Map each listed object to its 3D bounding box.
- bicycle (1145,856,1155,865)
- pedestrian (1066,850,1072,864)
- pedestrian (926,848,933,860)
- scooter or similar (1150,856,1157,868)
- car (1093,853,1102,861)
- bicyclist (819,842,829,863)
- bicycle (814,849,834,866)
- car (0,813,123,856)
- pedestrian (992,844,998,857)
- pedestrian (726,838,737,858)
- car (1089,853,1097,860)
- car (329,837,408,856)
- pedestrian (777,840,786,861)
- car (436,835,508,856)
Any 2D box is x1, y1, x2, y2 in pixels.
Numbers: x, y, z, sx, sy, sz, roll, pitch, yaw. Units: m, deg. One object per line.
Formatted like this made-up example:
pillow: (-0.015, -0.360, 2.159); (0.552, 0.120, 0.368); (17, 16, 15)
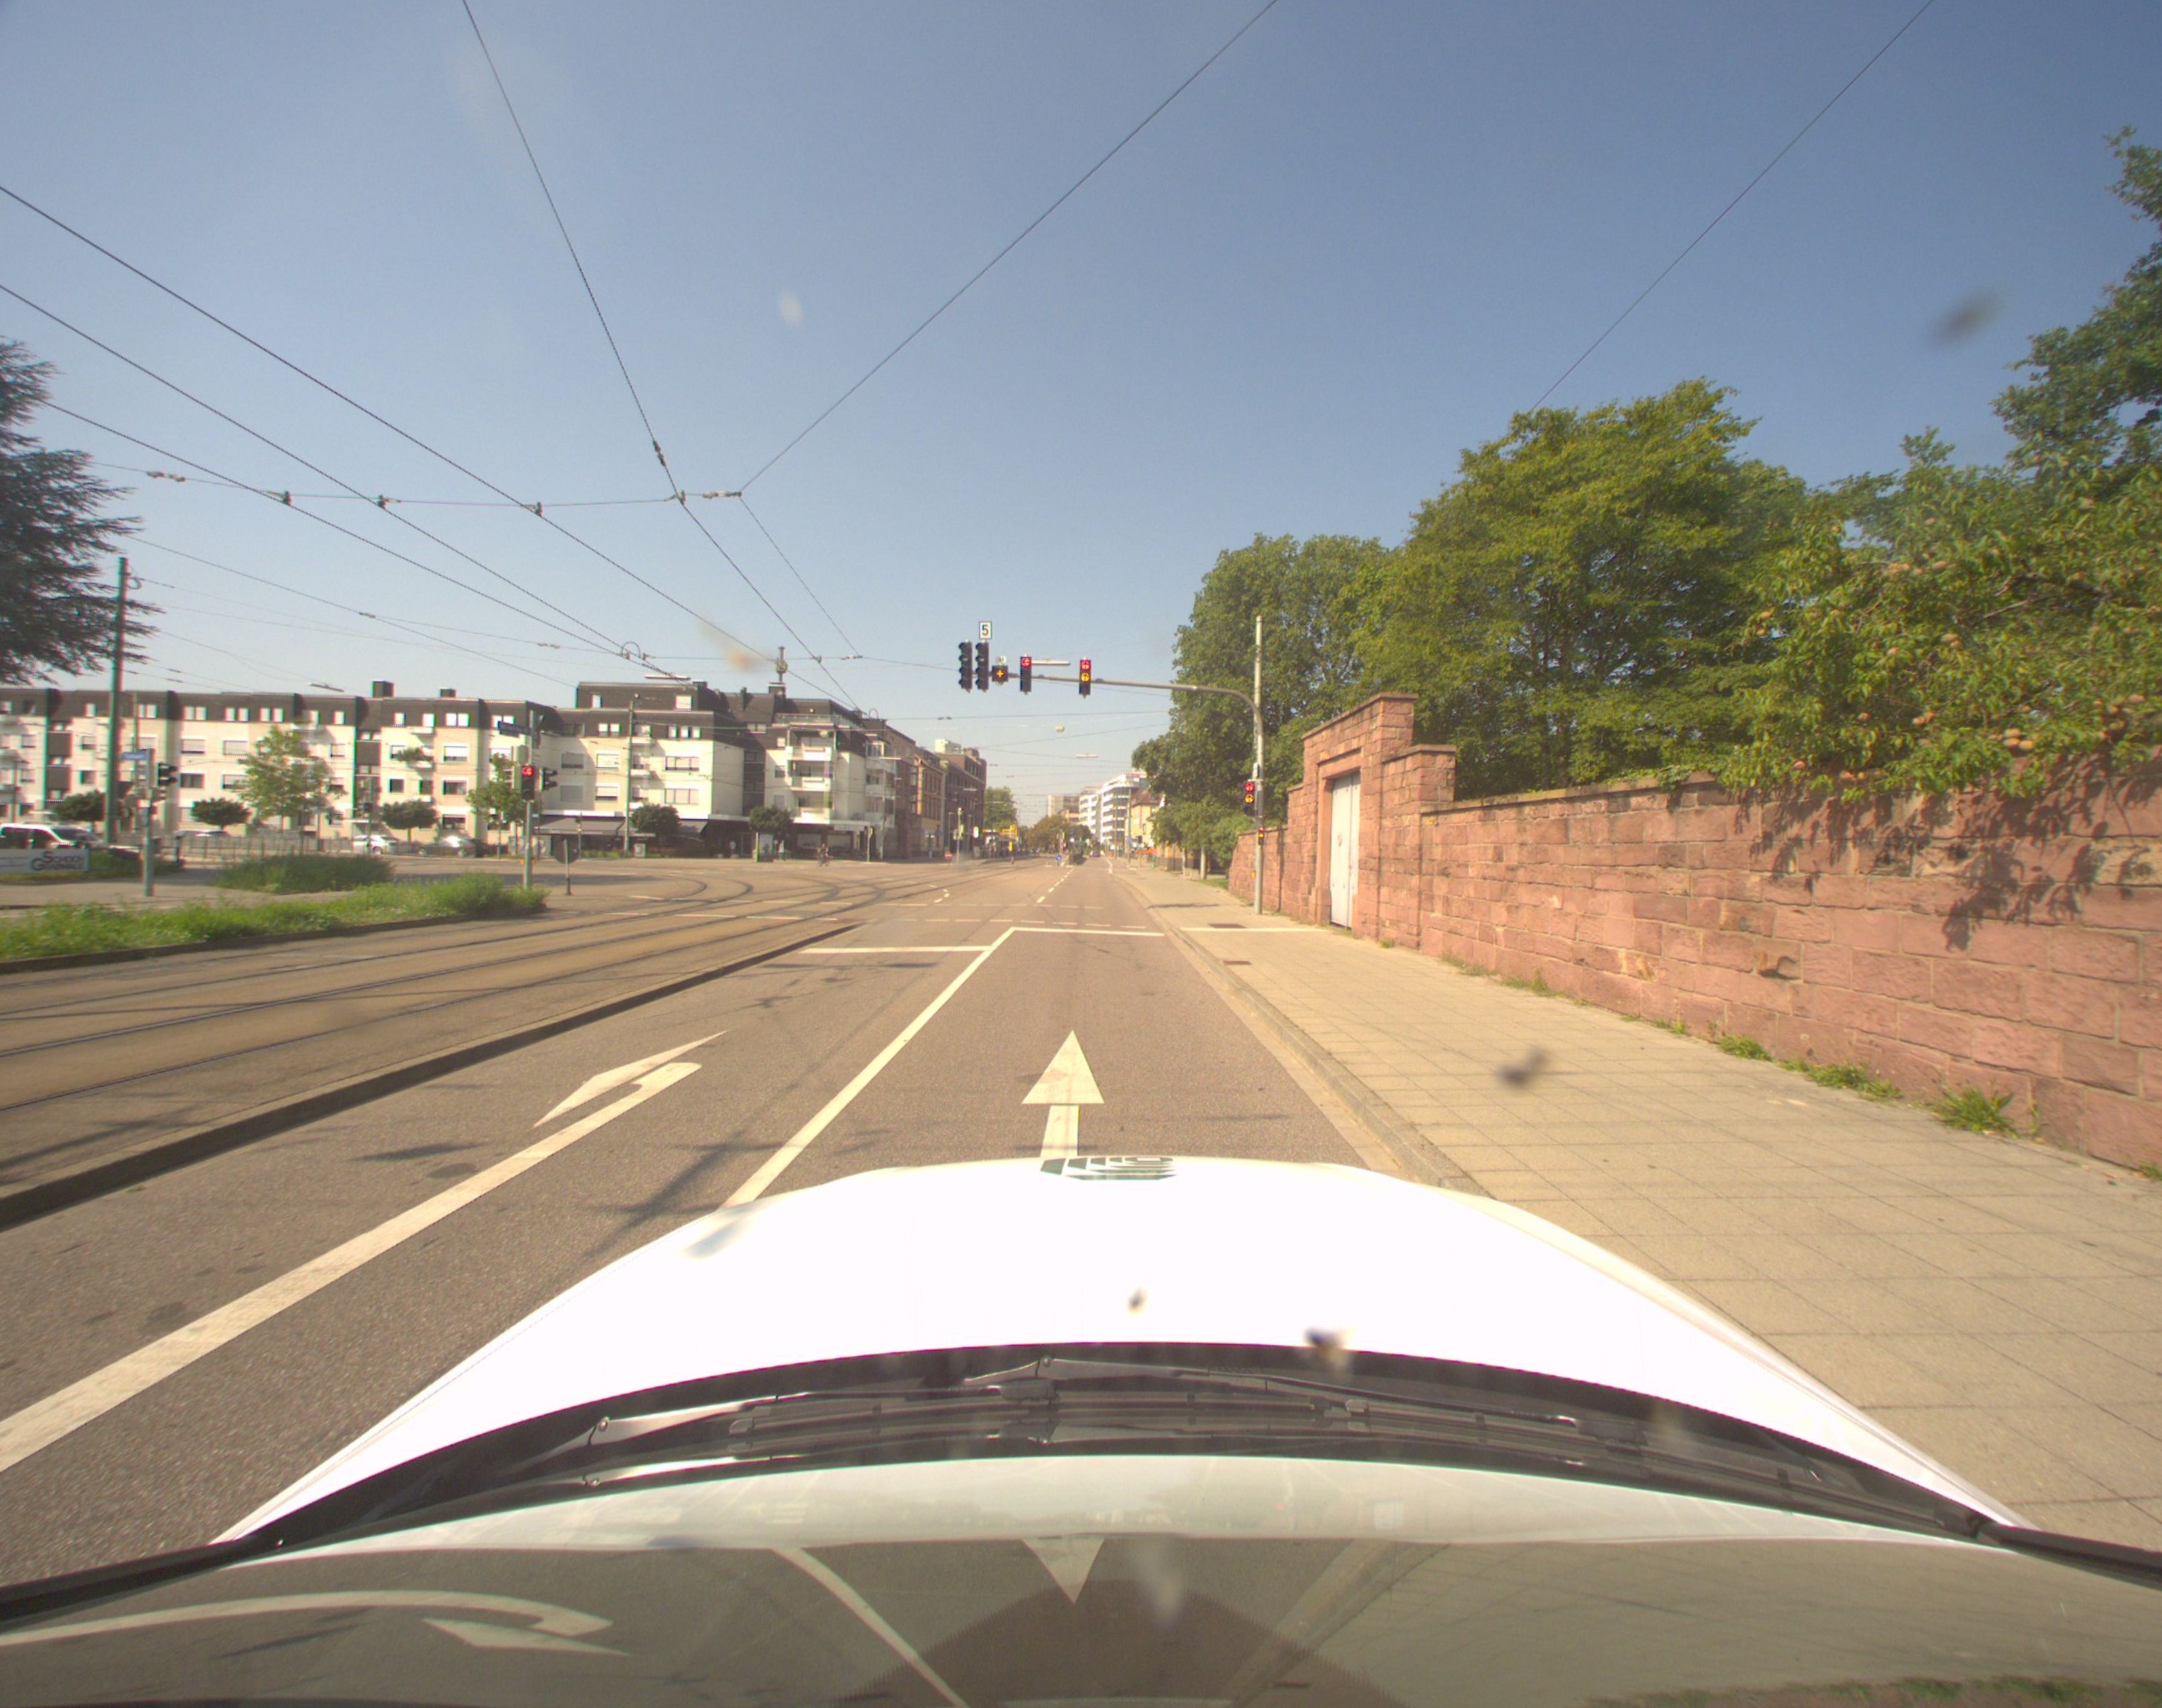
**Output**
bicycle: (9.069, 0.870, 106.841); (0.730, 1.132, 2.834); (-2, 0, -6)
pedestrian: (-1.510, 0.373, 102.299); (0.717, 1.703, 0.884); (0, 0, 2)
pedestrian: (-19.382, -0.024, 103.989); (0.480, 1.560, 0.890); (2, -1, 12)
scooter or similar: (6.667, 0.725, 74.841); (0.521, 1.133, 1.512); (0, 0, 2)
car: (4.034, 0.699, 196.386); (2.003, 1.859, 4.002); (0, 0, 2)
bicyclist: (-18.525, -0.133, 58.704); (0.566, 1.523, 0.490); (0, 0, 2)
bicycle: (-18.523, 0.220, 58.721); (0.572, 1.179, 2.210); (0, 0, 3)
car: (-48.729, -0.936, 38.835); (3.997, 1.886, 1.825); (2, 0, 2)
pedestrian: (-11.149, -0.456, 105.456); (0.705, 1.723, 0.799); (0, 0, 1)
pedestrian: (-30.460, -0.533, 70.950); (0.677, 1.741, 0.698); (0, 0, 2)
car: (2.999, 0.660, 202.632); (2.003, 1.859, 4.002); (0, 0, 2)
car: (-50.724, -0.509, 58.031); (4.095, 1.299, 1.673); (0, 0, 0)
pedestrian: (-25.213, -0.259, 68.604); (0.602, 1.745, 0.560); (0, 0, -32)
car: (-47.911, -0.658, 64.092); (4.095, 1.507, 1.930); (3, 0, 0)
